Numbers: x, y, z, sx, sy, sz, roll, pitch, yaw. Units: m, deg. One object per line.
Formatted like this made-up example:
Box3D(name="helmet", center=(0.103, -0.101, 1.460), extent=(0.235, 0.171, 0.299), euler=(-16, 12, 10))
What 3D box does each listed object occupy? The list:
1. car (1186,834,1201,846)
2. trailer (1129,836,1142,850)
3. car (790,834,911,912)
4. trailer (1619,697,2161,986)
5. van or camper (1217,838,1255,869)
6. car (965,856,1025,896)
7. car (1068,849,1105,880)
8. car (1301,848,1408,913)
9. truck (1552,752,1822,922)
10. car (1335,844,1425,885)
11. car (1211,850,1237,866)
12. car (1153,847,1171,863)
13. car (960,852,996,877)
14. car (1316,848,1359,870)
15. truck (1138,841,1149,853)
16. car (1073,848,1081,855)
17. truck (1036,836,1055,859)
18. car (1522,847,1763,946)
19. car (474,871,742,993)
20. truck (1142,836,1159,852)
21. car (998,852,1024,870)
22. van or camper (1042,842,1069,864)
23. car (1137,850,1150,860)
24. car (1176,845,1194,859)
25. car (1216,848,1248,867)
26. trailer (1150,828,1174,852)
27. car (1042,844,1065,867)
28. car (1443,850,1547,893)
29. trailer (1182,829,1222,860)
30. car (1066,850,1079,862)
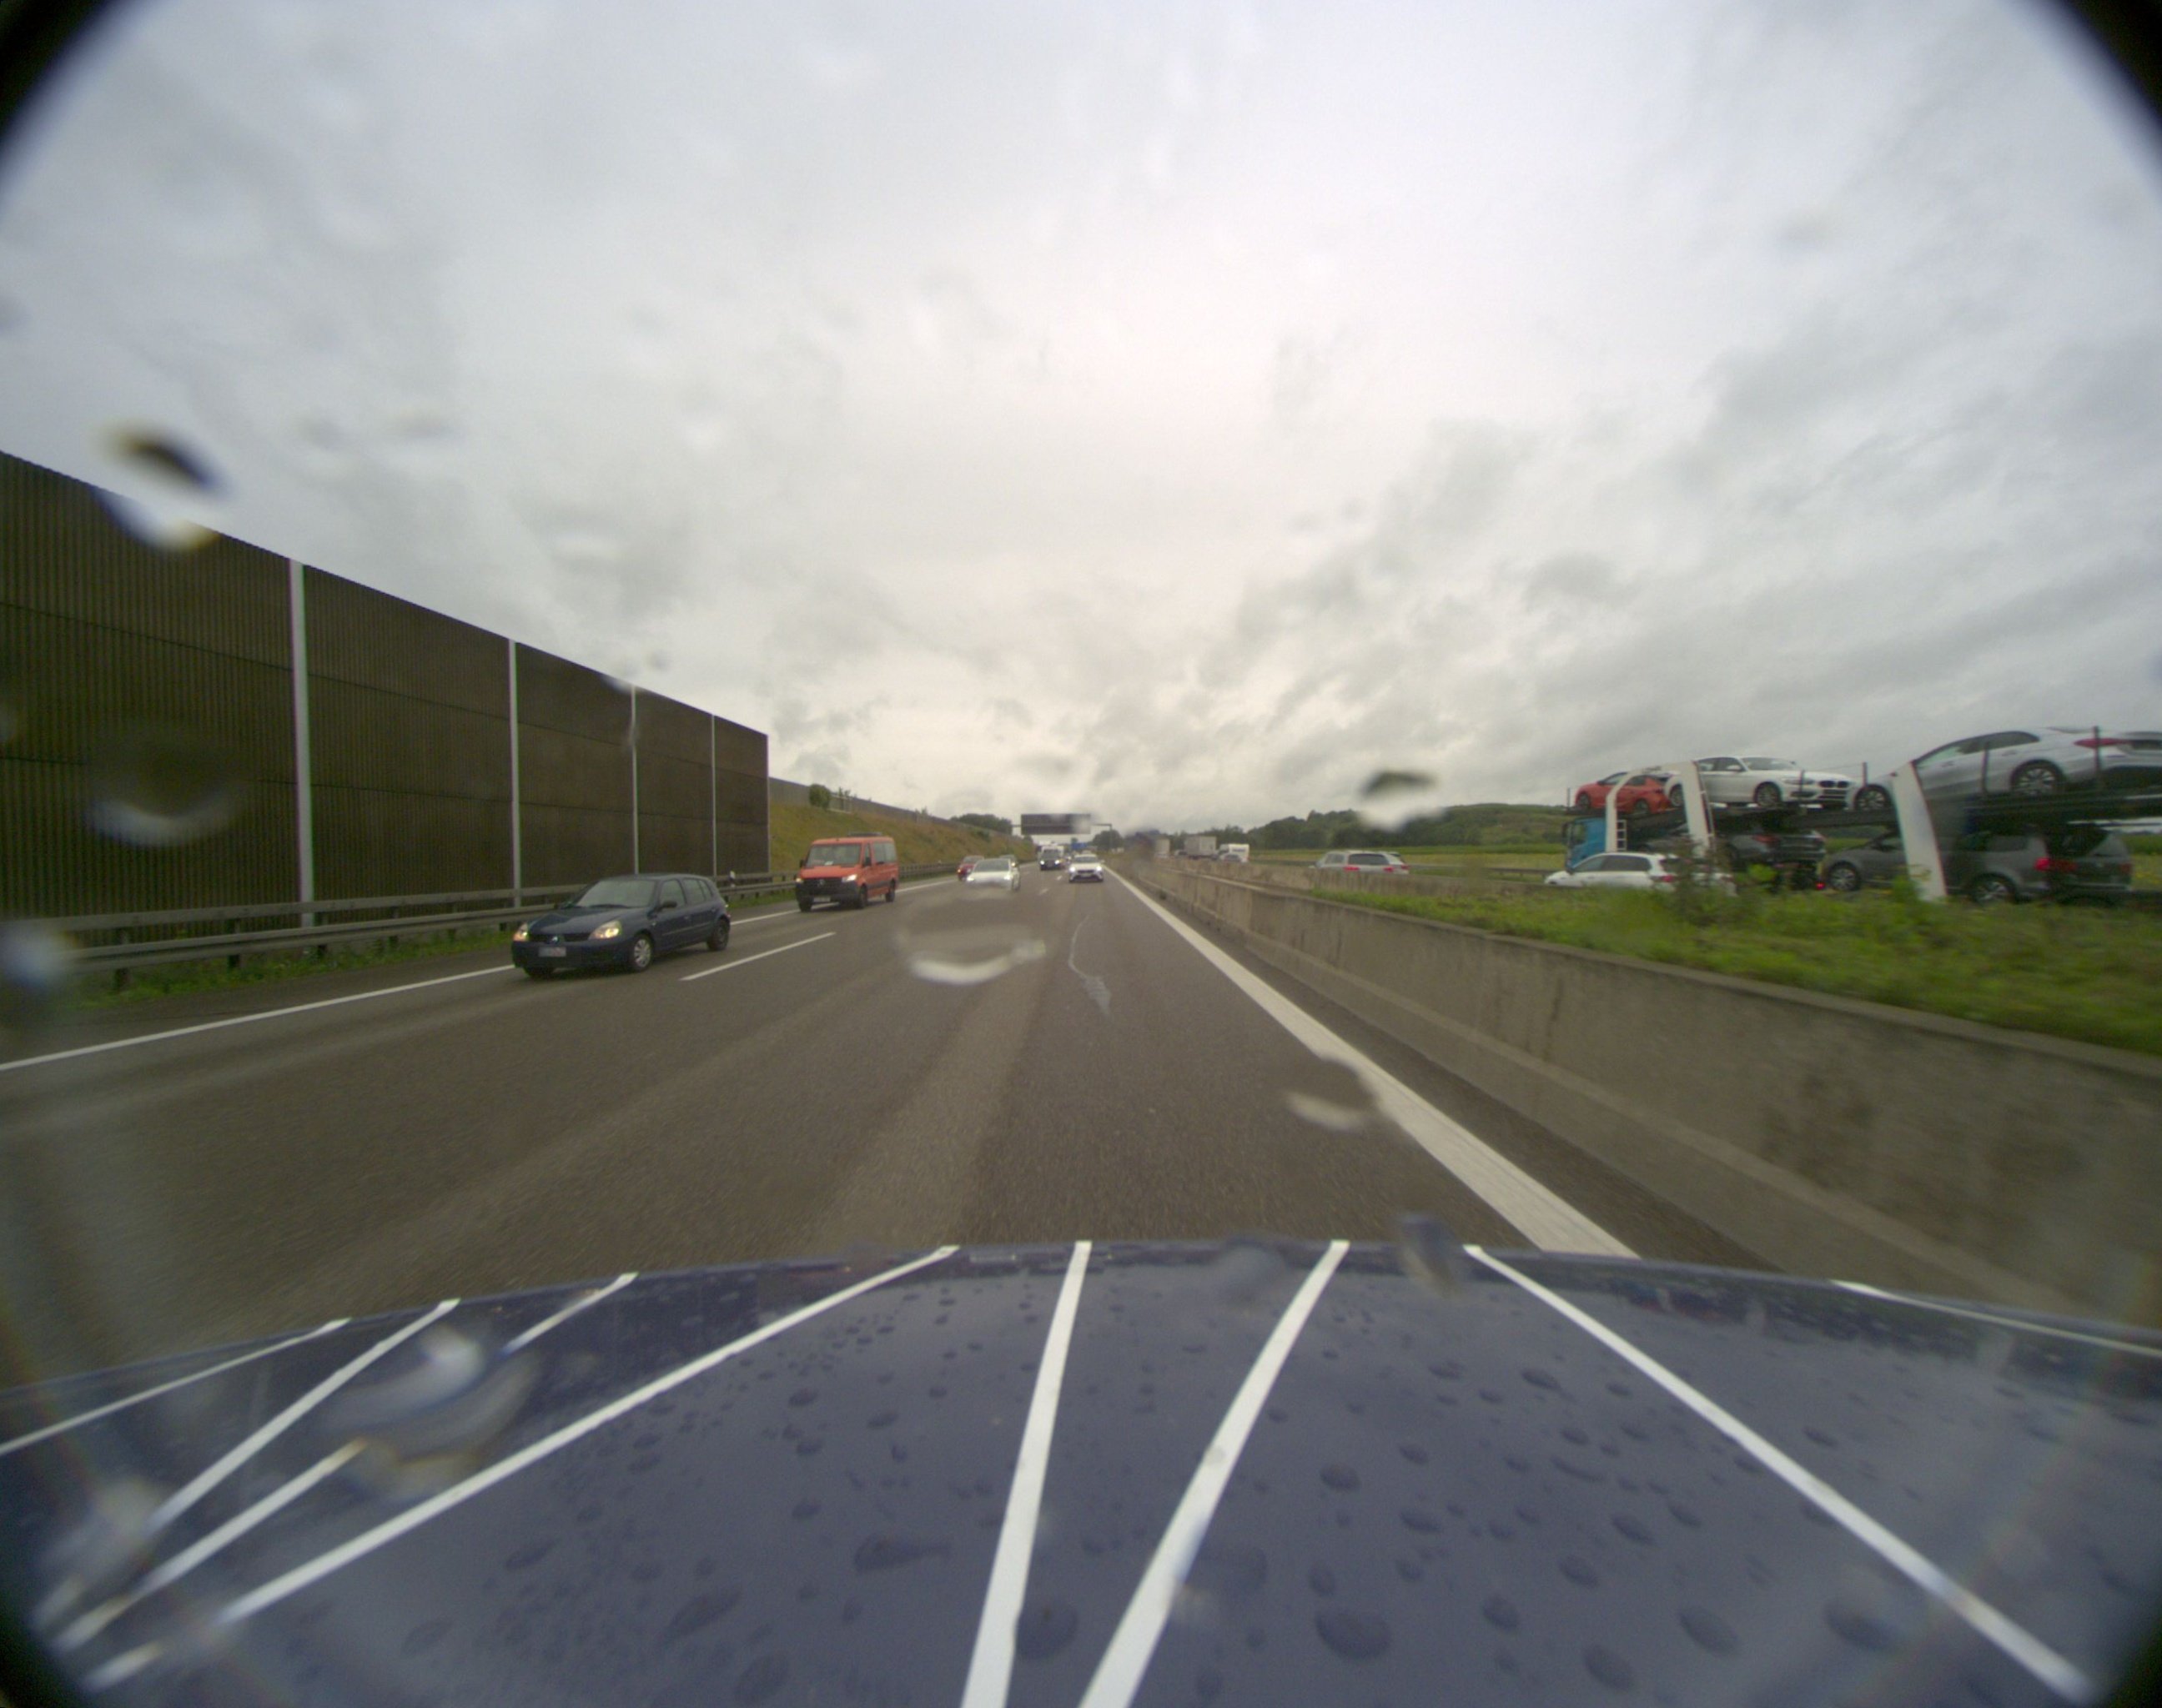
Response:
Box3D(name="car", center=(19.924, -2.462, 134.300), extent=(1.998, 2.002, 4.620), euler=(-1, 1, 1))
Box3D(name="trailer", center=(19.364, -3.789, 268.762), extent=(3.396, 4.741, 11.679), euler=(-3, 1, -1))
Box3D(name="car", center=(-7.640, 0.544, 25.991), extent=(2.091, 2.302, 6.181), euler=(-2, 1, 1))
Box3D(name="trailer", center=(17.317, -0.316, 14.568), extent=(3.006, 4.217, 15.705), euler=(-3, 1, 1))
Box3D(name="van or camper", center=(18.408, -0.126, 90.776), extent=(2.716, 3.483, 7.697), euler=(-3, 1, -1))
Box3D(name="car", center=(-3.508, 0.877, 31.884), extent=(1.878, 1.355, 4.812), euler=(-3, 1, 0))
Box3D(name="car", center=(0.318, 0.548, 41.058), extent=(1.841, 1.455, 3.999), euler=(-3, 1, 1))
Box3D(name="car", center=(9.071, 0.800, 25.655), extent=(1.932, 1.868, 4.589), euler=(-3, 1, 1))
Box3D(name="truck", center=(17.412, -0.486, 22.522), extent=(2.964, 4.218, 6.233), euler=(-3, 1, 0))
Box3D(name="car", center=(13.724, 0.420, 35.226), extent=(2.099, 1.700, 5.164), euler=(-2, 1, 0))
Box3D(name="car", center=(18.184, 0.480, 96.845), extent=(2.097, 1.743, 5.133), euler=(-4, 1, -3))
Box3D(name="car", center=(10.186, 0.085, 96.105), extent=(1.888, 1.913, 4.173), euler=(-1, 1, 0))
Box3D(name="car", center=(-7.123, 0.718, 52.790), extent=(1.878, 1.526, 3.999), euler=(-3, 1, 0))
Box3D(name="car", center=(20.134, 0.366, 59.801), extent=(1.889, 1.586, 3.999), euler=(-3, 1, -1))
Box3D(name="truck", center=(16.244, -1.798, 198.882), extent=(2.317, 2.892, 7.422), euler=(-3, 1, 1))
Box3D(name="car", center=(-1.141, -0.651, 200.303), extent=(1.998, 1.696, 3.999), euler=(-3, 1, 1))
Box3D(name="truck", center=(-6.445, -1.299, 140.156), extent=(3.090, 4.003, 6.954), euler=(-3, 1, -1))
Box3D(name="car", center=(12.918, 0.853, 18.010), extent=(1.998, 1.868, 5.031), euler=(-3, 1, 1))
Box3D(name="car", center=(-7.143, 1.083, 12.032), extent=(1.706, 1.393, 3.874), euler=(-3, 1, 1))
Box3D(name="truck", center=(20.762, -2.883, 226.850), extent=(3.521, 4.458, 11.784), euler=(-3, 1, -1))
Box3D(name="car", center=(-6.515, 0.644, 70.807), extent=(1.929, 1.480, 4.484), euler=(-3, 1, 0))
Box3D(name="van or camper", center=(-2.629, -0.172, 80.419), extent=(2.432, 2.139, 6.497), euler=(-3, 1, 1))
Box3D(name="car", center=(11.166, 0.127, 136.563), extent=(1.998, 1.754, 5.071), euler=(-1, 1, 1))
Box3D(name="car", center=(14.669, -0.360, 107.404), extent=(1.888, 1.913, 5.277), euler=(-1, 1, 0))
Box3D(name="car", center=(14.294, 0.335, 72.191), extent=(2.066, 1.700, 4.799), euler=(-2, 1, 0))
Box3D(name="trailer", center=(14.781, -2.620, 138.859), extent=(3.093, 4.065, 12.327), euler=(-3, 1, 1))
Box3D(name="car", center=(-2.688, 0.124, 74.990), extent=(1.998, 2.002, 4.937), euler=(-3, 1, 1))
Box3D(name="car", center=(18.222, 0.706, 33.766), extent=(2.098, 1.700, 4.800), euler=(-2, 1, 2))
Box3D(name="trailer", center=(18.670, -1.501, 118.266), extent=(3.722, 4.247, 15.621), euler=(-3, 1, 1))
Box3D(name="car", center=(-1.403, 0.324, 124.692), extent=(1.999, 1.759, 3.999), euler=(-1, 1, -2))
